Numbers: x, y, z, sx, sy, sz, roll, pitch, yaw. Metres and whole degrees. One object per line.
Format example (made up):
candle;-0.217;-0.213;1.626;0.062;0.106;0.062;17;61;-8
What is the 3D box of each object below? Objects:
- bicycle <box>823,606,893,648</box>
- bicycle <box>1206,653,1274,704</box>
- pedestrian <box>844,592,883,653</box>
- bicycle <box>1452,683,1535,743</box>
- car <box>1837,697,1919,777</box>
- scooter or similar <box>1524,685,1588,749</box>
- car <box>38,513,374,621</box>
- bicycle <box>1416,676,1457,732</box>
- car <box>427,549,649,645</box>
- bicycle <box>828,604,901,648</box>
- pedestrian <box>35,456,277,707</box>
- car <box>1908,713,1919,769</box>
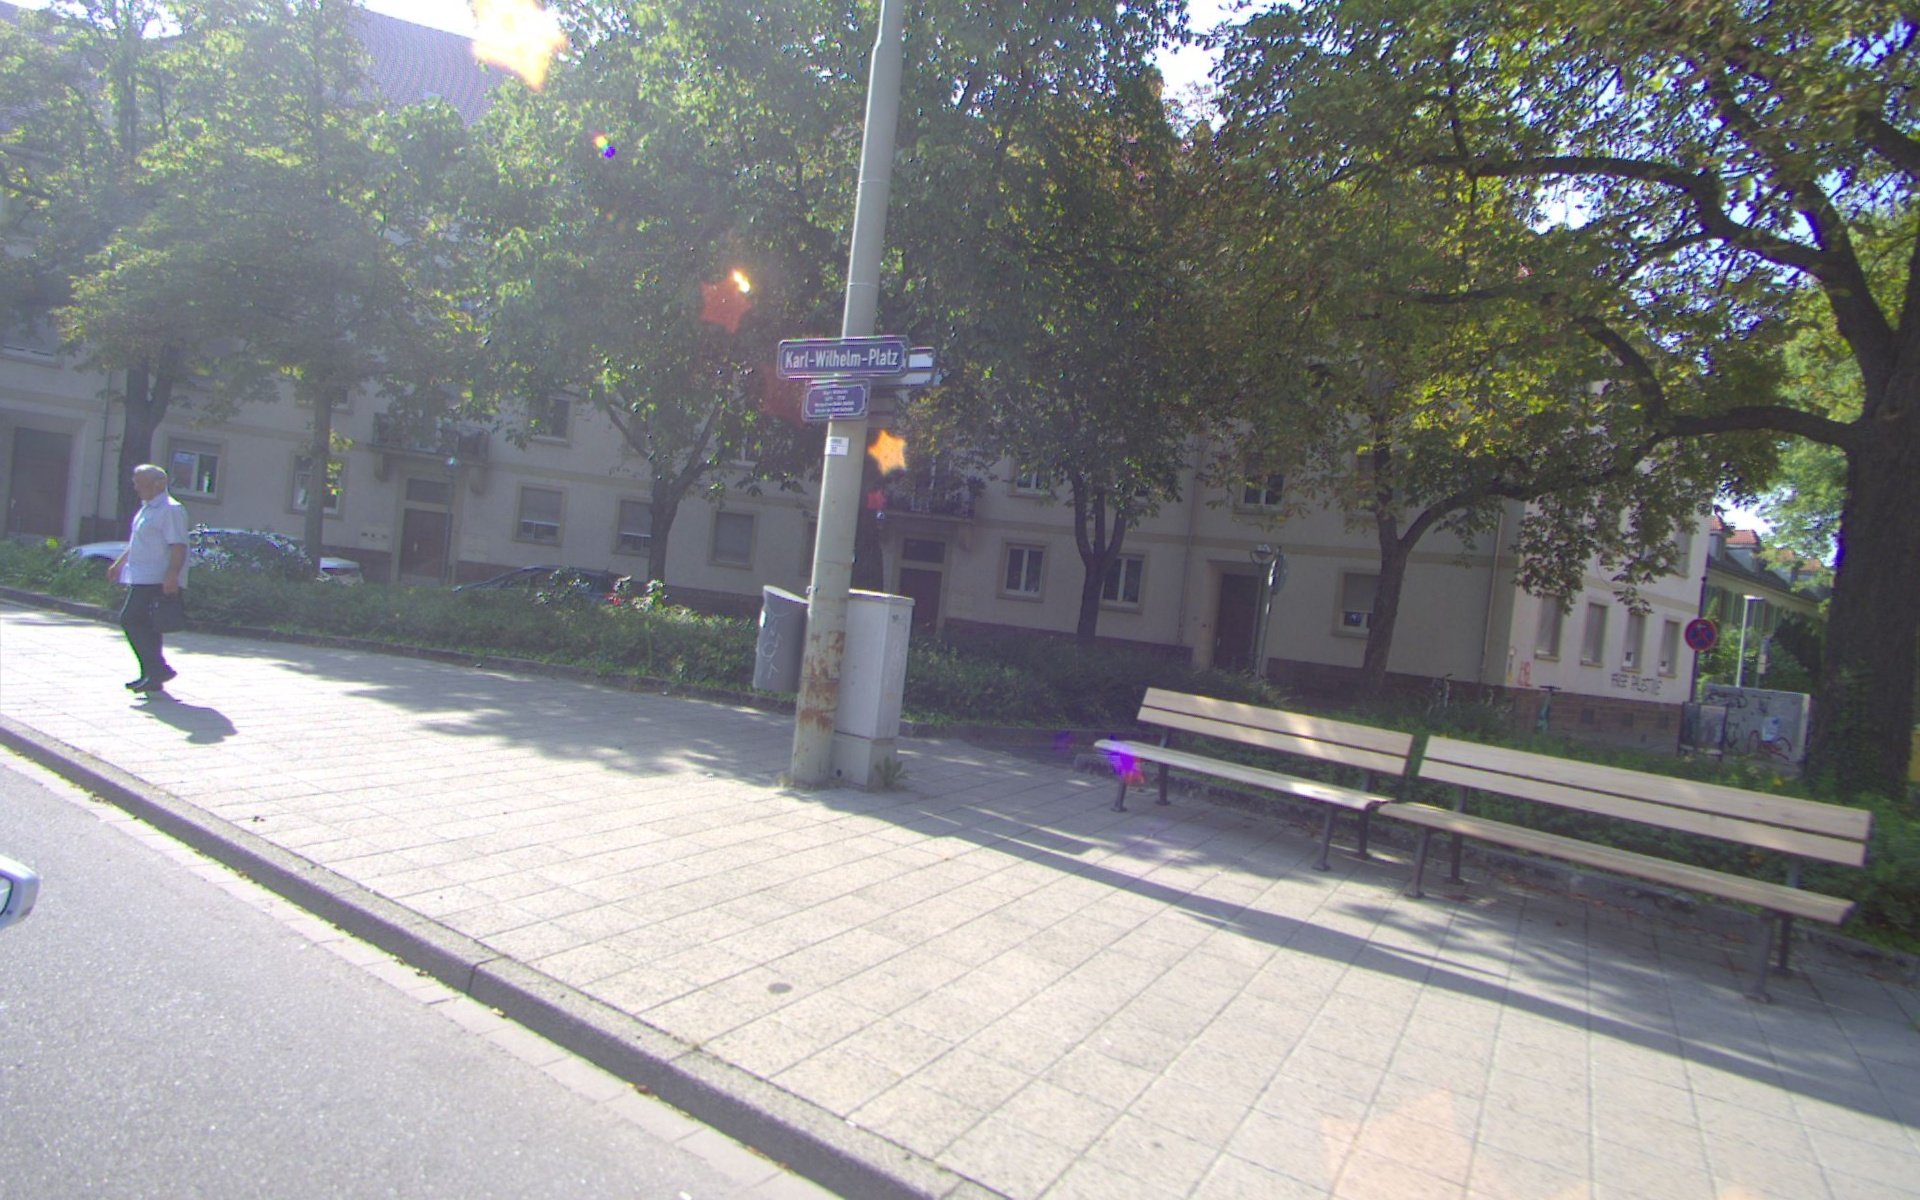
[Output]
bicycle;-3.021;0.805;29.800;1.873;1.019;0.534;6;0;12
bicycle;6.891;1.924;24.810;1.465;1.073;0.415;6;1;36
pedestrian;-2.868;0.665;29.883;0.849;1.692;0.688;6;1;10
bicycle;10.990;2.329;20.705;1.820;1.071;0.603;7;0;-32
car;23.208;3.375;23.182;1.648;1.658;4.153;6;0;-37
scooter or similar;11.970;2.351;20.209;1.098;1.172;0.439;6;0;-23
car;-14.666;-0.651;19.925;4.879;1.488;1.868;6;2;-17
bicycle;10.306;2.229;21.787;0.597;1.071;1.869;6;-1;23
car;-8.769;-0.074;21.164;3.819;1.470;1.750;7;1;-2
bicycle;-2.694;0.739;28.306;1.873;1.019;0.534;6;0;12
pedestrian;-6.212;-0.152;7.820;1.059;1.748;0.968;5;3;10
car;27.572;4.090;26.042;1.651;1.481;4.143;6;3;-42
